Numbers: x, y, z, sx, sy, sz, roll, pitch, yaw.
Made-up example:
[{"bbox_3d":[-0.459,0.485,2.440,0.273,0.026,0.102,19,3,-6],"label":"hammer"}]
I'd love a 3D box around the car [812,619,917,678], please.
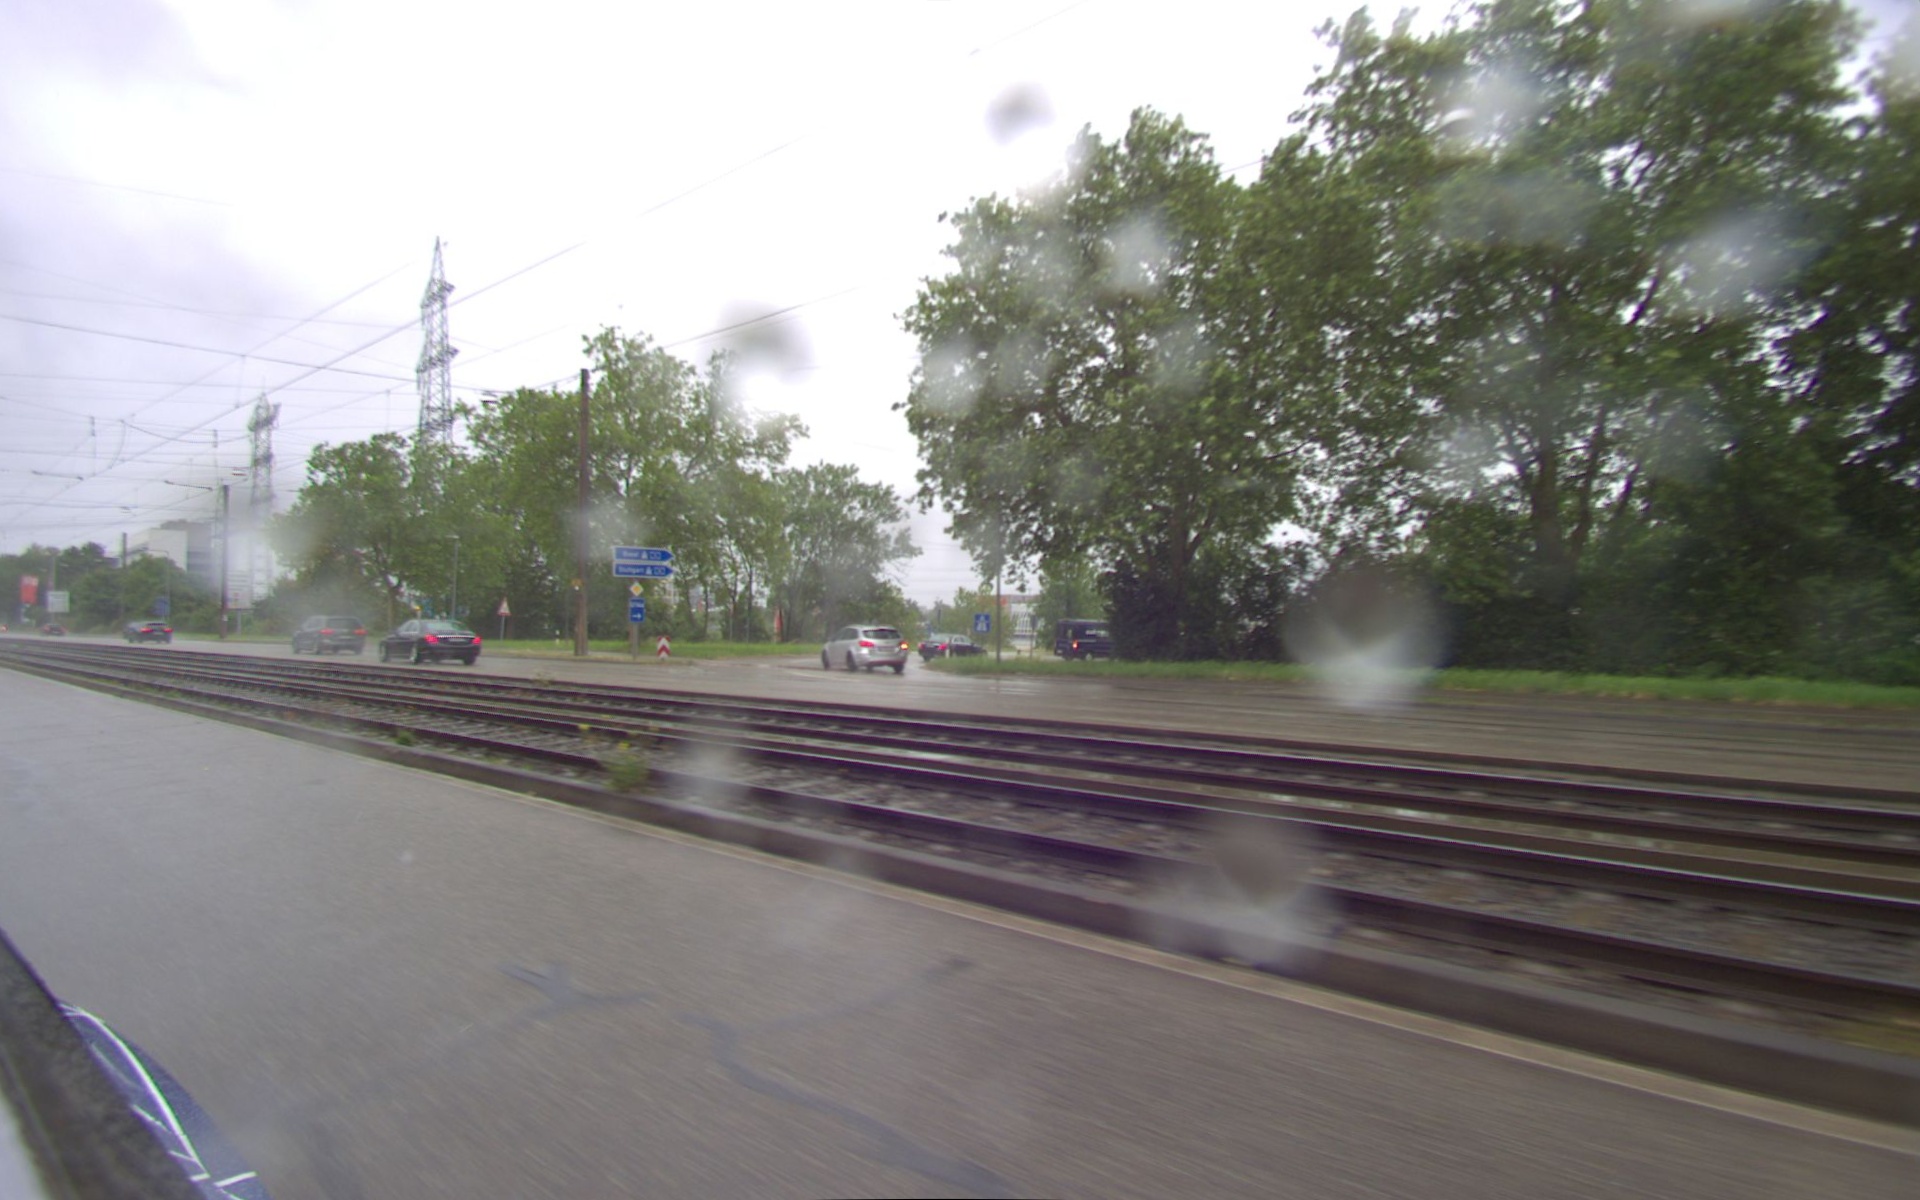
[{"bbox_3d":[-3.212,1.527,33.008,1.794,1.719,5.037,-2,-1,-25],"label":"car"}]

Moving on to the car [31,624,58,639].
[{"bbox_3d":[-99.560,3.434,110.000,3.997,1.564,1.672,-3,-1,41],"label":"car"}]

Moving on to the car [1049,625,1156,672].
[{"bbox_3d":[8.266,2.759,58.581,5.748,2.444,2.347,-2,-1,-27],"label":"car"}]

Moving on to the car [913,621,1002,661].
[{"bbox_3d":[-0.071,2.067,51.717,2.087,1.812,4.703,-3,-1,38],"label":"car"}]

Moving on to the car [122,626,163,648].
[{"bbox_3d":[-69.689,3.178,86.242,4.645,1.699,1.823,-3,-1,40],"label":"car"}]

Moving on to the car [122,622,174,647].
[{"bbox_3d":[-55.121,2.363,68.682,5.309,1.561,1.772,-3,-1,40],"label":"car"}]

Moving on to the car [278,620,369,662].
[{"bbox_3d":[-28.803,1.861,45.681,6.101,1.719,1.800,-3,-1,41],"label":"car"}]

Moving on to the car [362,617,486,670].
[{"bbox_3d":[-18.166,1.474,34.131,5.678,1.597,1.757,-3,-1,41],"label":"car"}]
